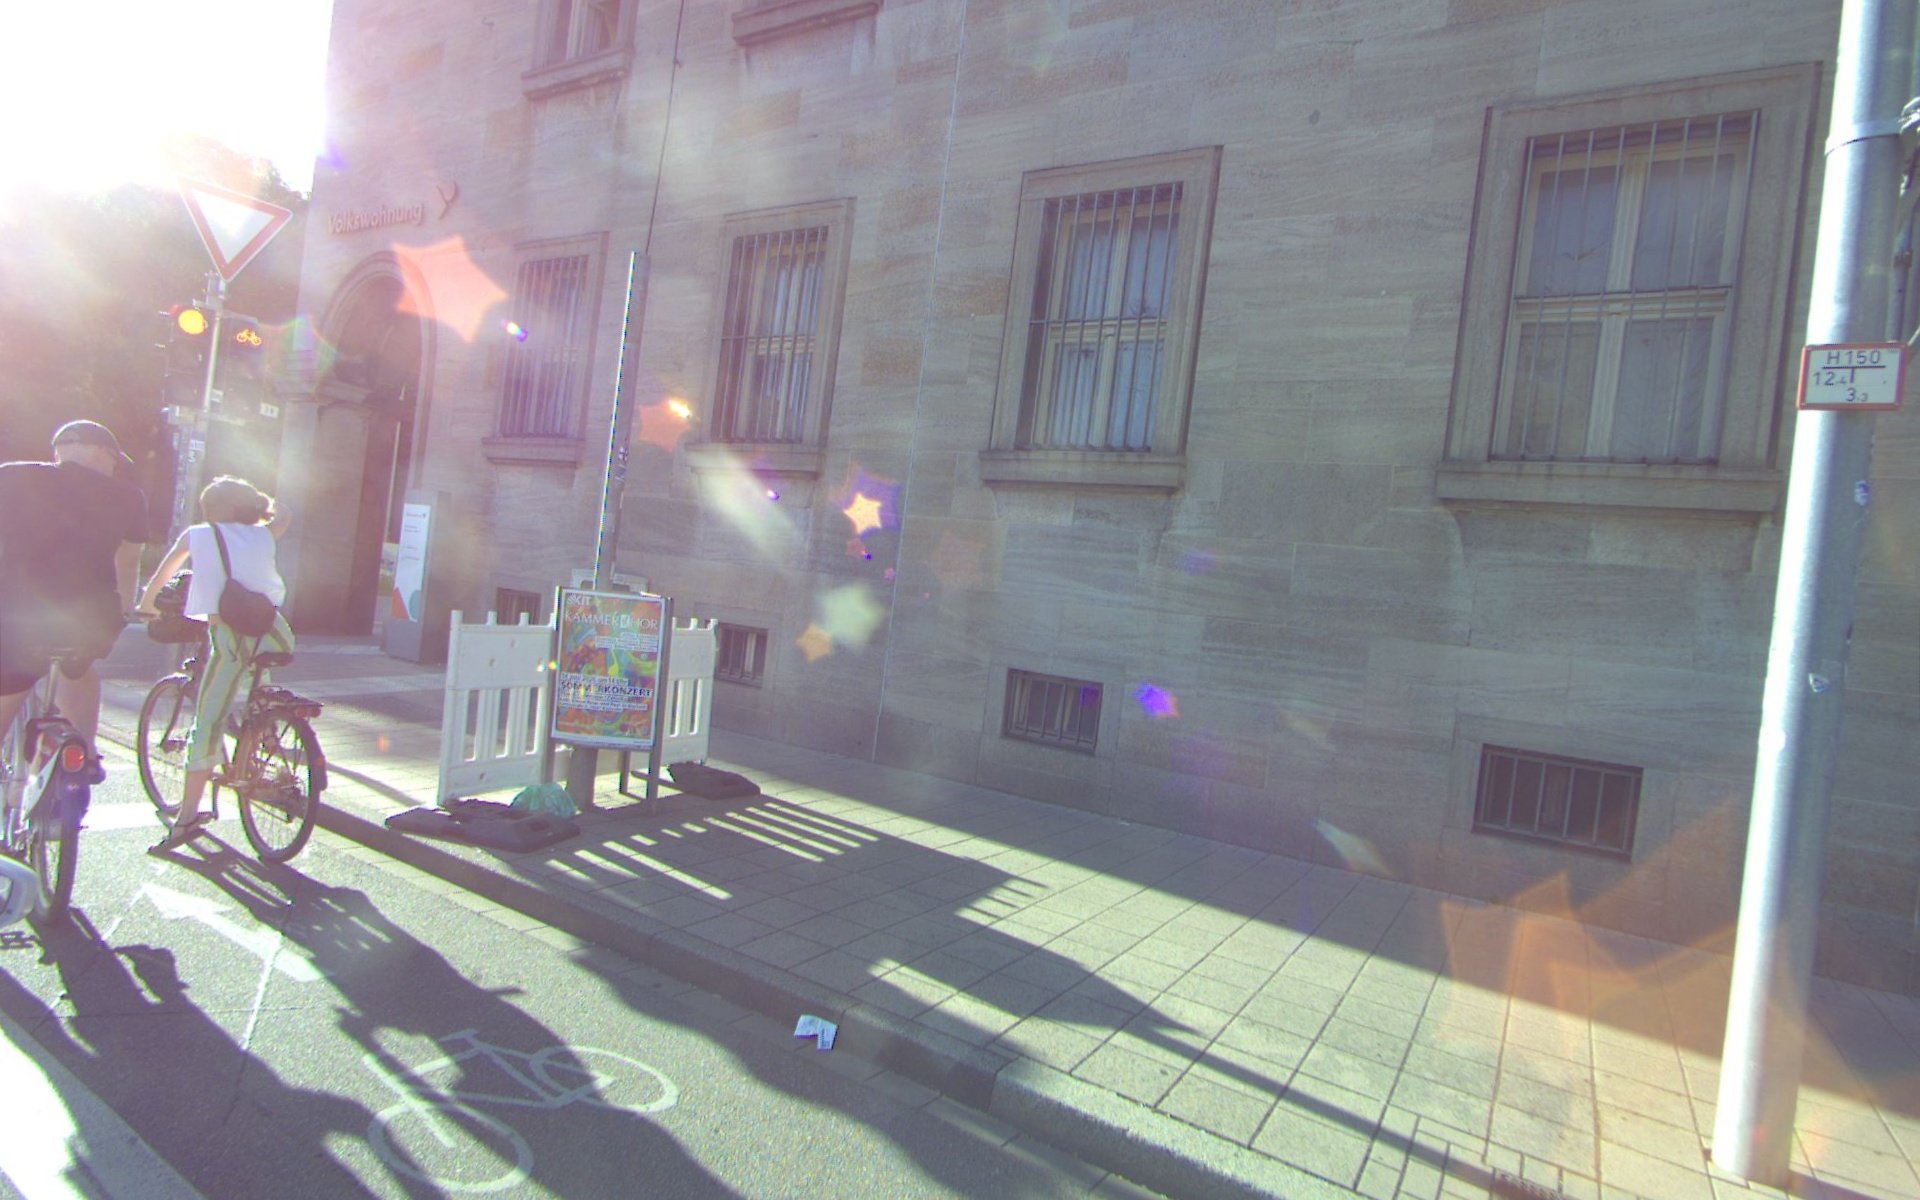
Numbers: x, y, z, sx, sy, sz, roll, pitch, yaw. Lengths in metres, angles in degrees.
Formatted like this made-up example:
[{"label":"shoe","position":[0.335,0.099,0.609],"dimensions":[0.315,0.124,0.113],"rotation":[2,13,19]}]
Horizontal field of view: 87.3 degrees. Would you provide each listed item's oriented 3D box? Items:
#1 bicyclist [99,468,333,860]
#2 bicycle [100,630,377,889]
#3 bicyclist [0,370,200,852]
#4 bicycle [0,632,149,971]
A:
[{"label":"bicyclist","position":[-3.580,0.271,4.833],"dimensions":[0.845,1.700,0.522],"rotation":[7,1,35]},{"label":"bicycle","position":[-3.620,0.710,4.976],"dimensions":[1.920,0.887,0.427],"rotation":[7,0,35]},{"label":"bicyclist","position":[-3.518,0.042,3.886],"dimensions":[0.647,1.698,0.669],"rotation":[7,1,41]},{"label":"bicycle","position":[-3.735,0.684,3.995],"dimensions":[1.923,0.916,0.388],"rotation":[7,0,41]}]
